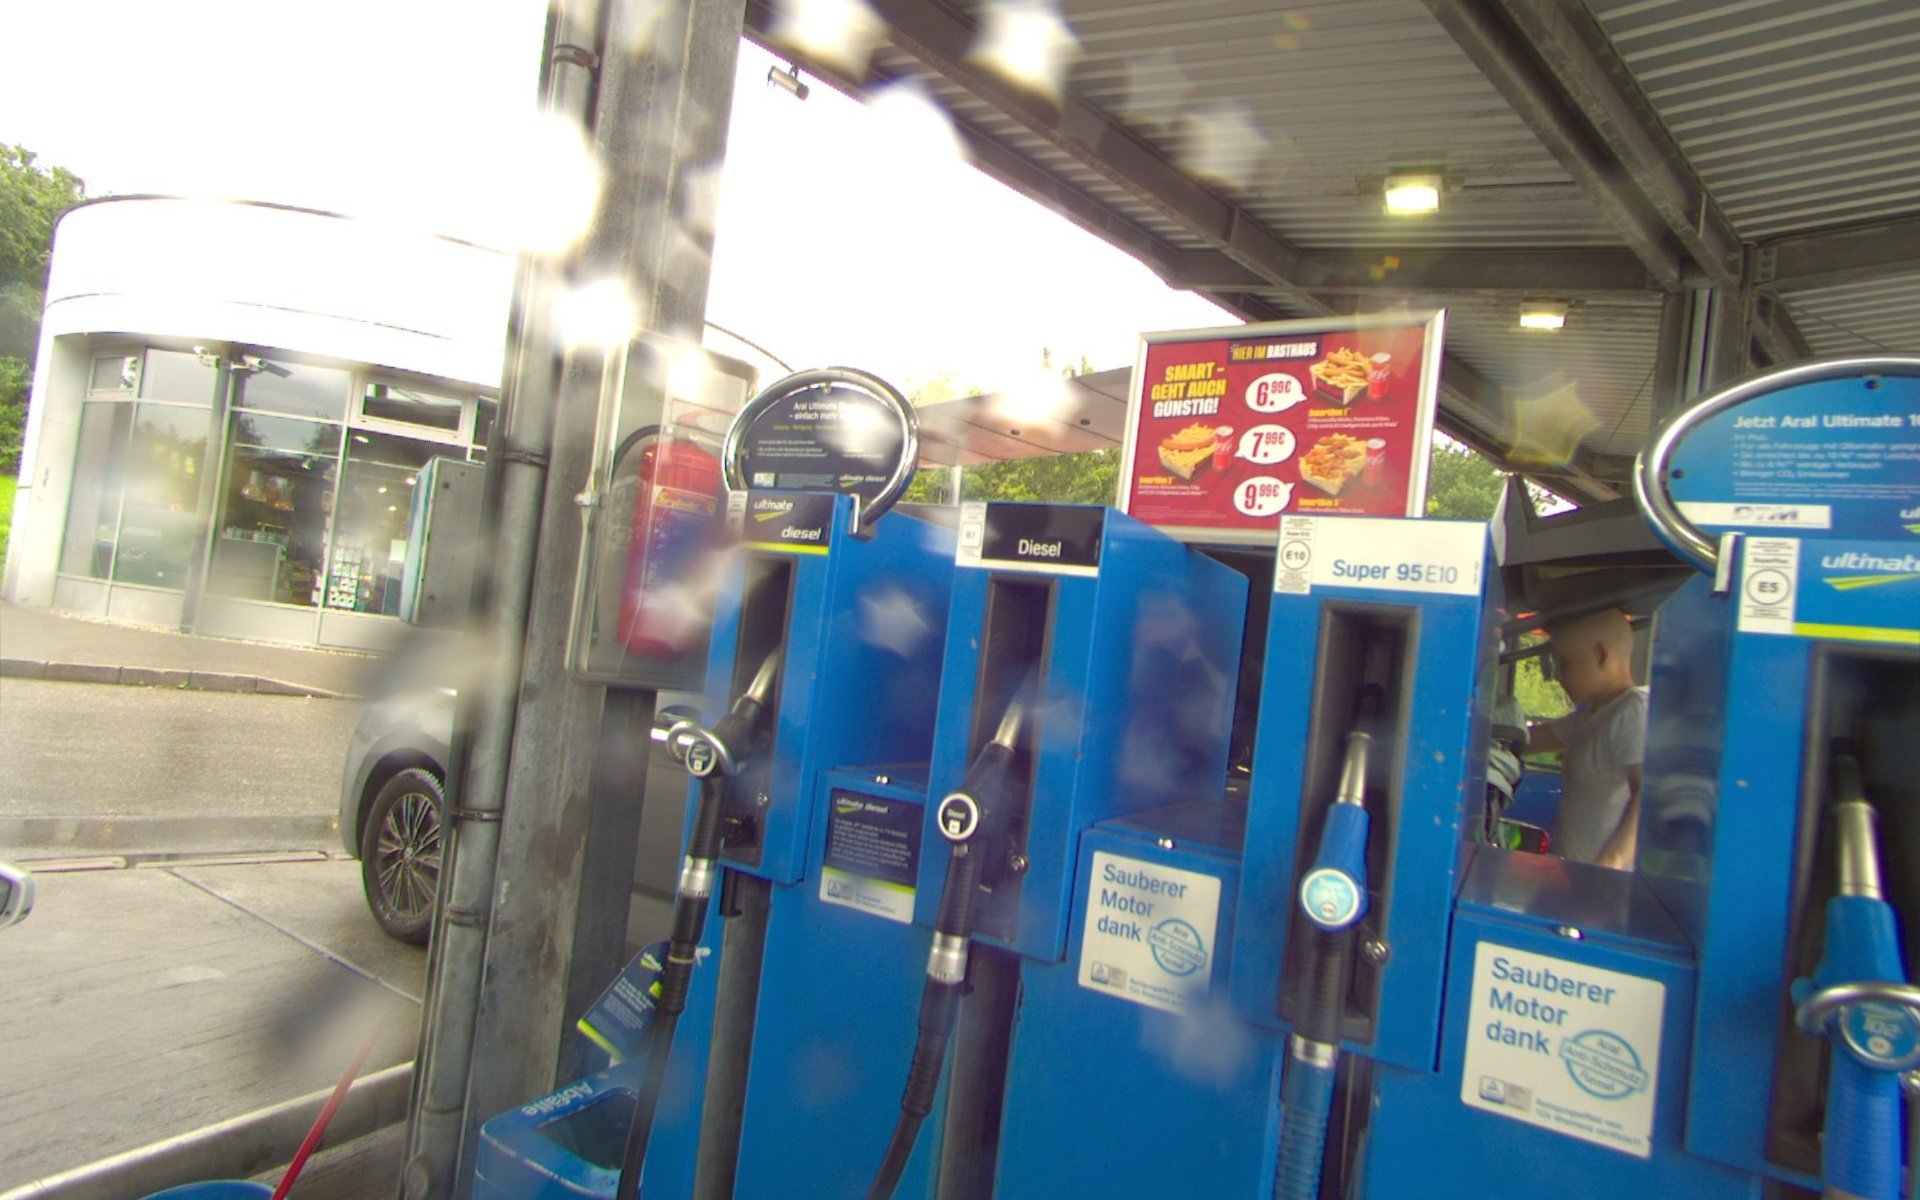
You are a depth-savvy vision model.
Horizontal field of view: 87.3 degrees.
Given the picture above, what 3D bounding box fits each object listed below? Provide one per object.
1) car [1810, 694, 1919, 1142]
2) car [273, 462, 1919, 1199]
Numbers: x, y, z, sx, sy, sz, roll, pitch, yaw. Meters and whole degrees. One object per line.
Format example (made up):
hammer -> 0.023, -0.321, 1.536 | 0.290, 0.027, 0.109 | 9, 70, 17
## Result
car -> 6.311, 1.570, 3.699 | 4.464, 1.819, 1.865 | 6, -2, 31
car -> -0.142, 0.649, 3.663 | 5.055, 1.819, 1.865 | 6, -2, 32
